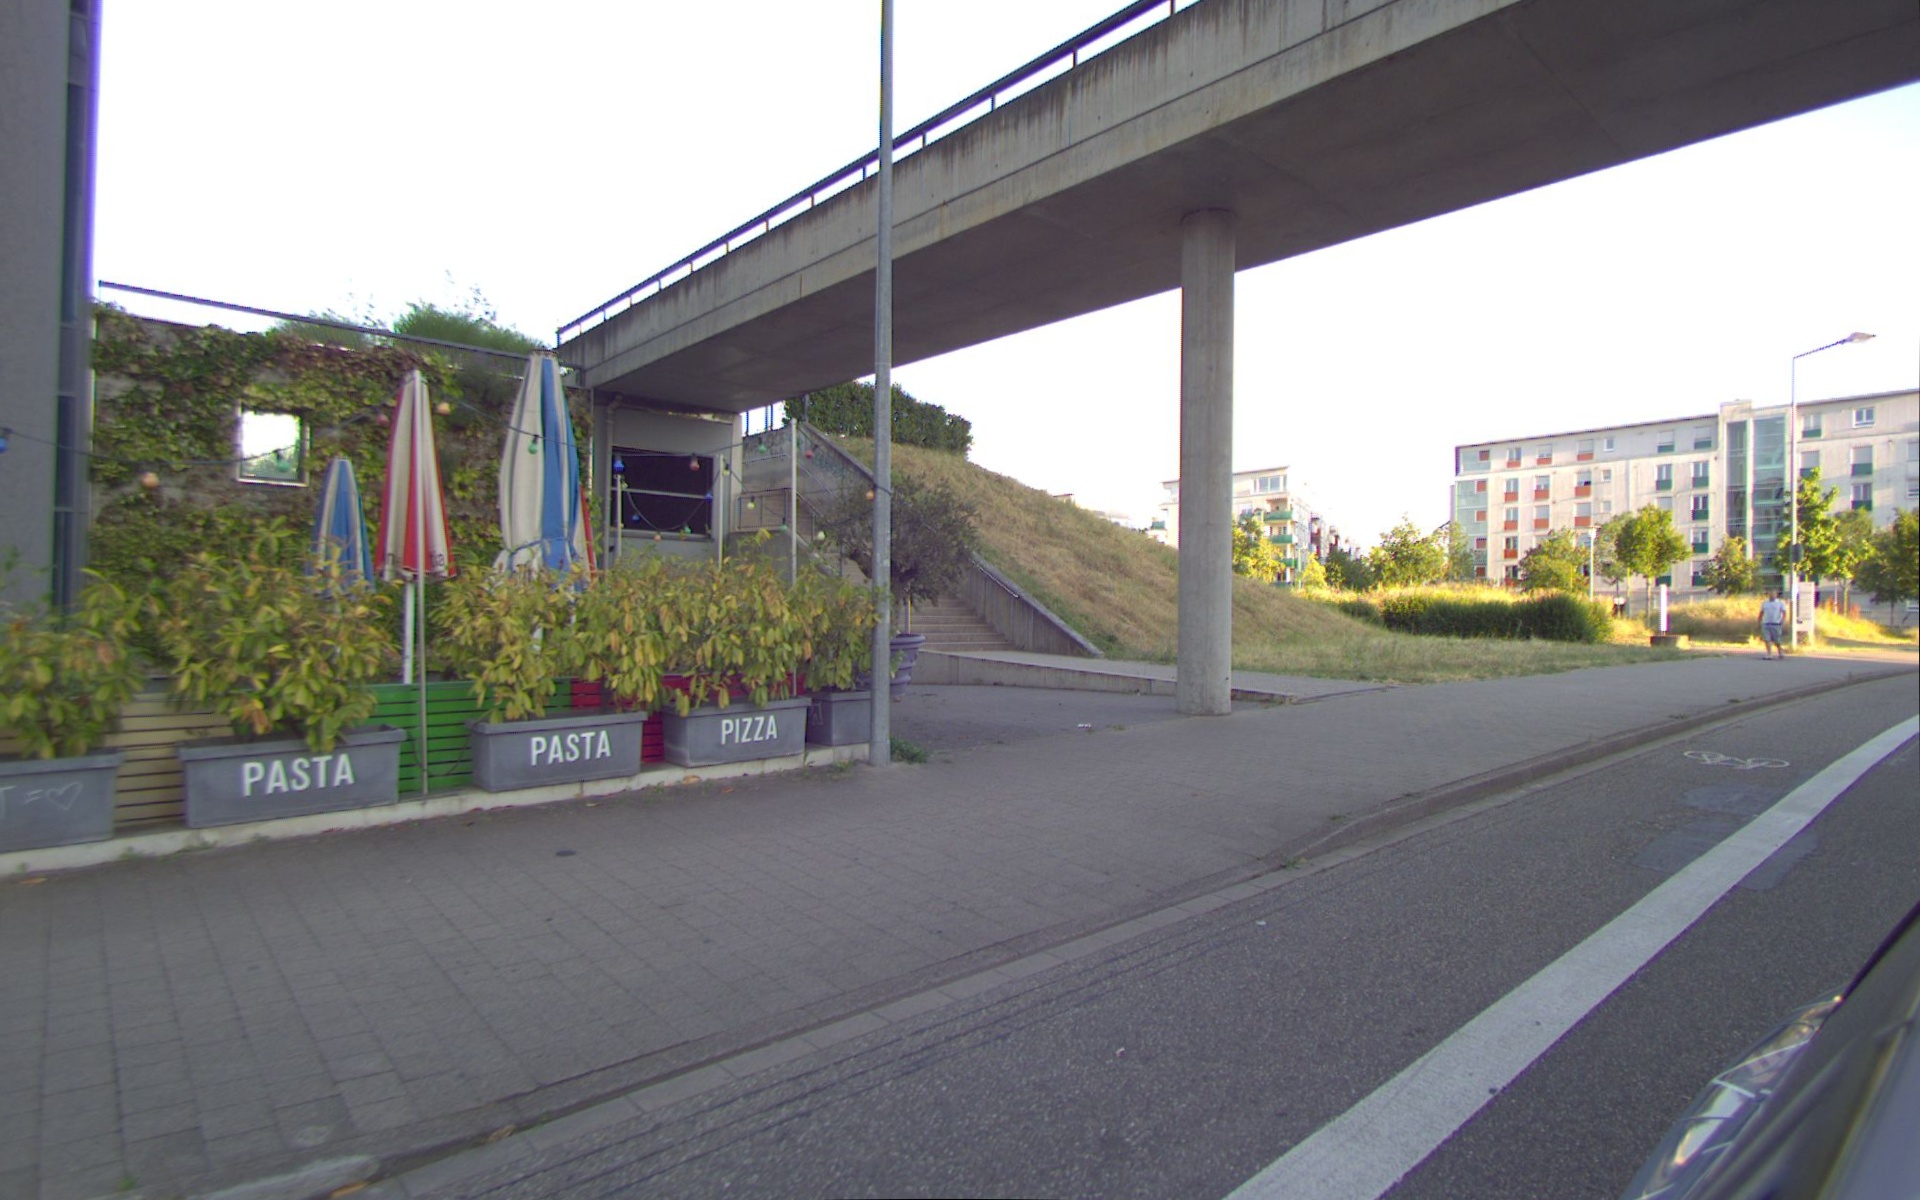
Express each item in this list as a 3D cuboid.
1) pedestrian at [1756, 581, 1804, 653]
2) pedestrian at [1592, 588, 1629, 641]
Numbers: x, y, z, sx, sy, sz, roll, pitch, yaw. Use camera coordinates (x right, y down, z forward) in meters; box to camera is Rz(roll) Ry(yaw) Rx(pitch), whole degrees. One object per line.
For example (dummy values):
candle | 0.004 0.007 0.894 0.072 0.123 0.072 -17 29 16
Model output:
pedestrian | 20.557 0.410 25.367 0.890 1.745 0.737 1 1 -40
pedestrian | 20.700 0.447 32.207 0.844 1.650 0.737 1 1 -39
